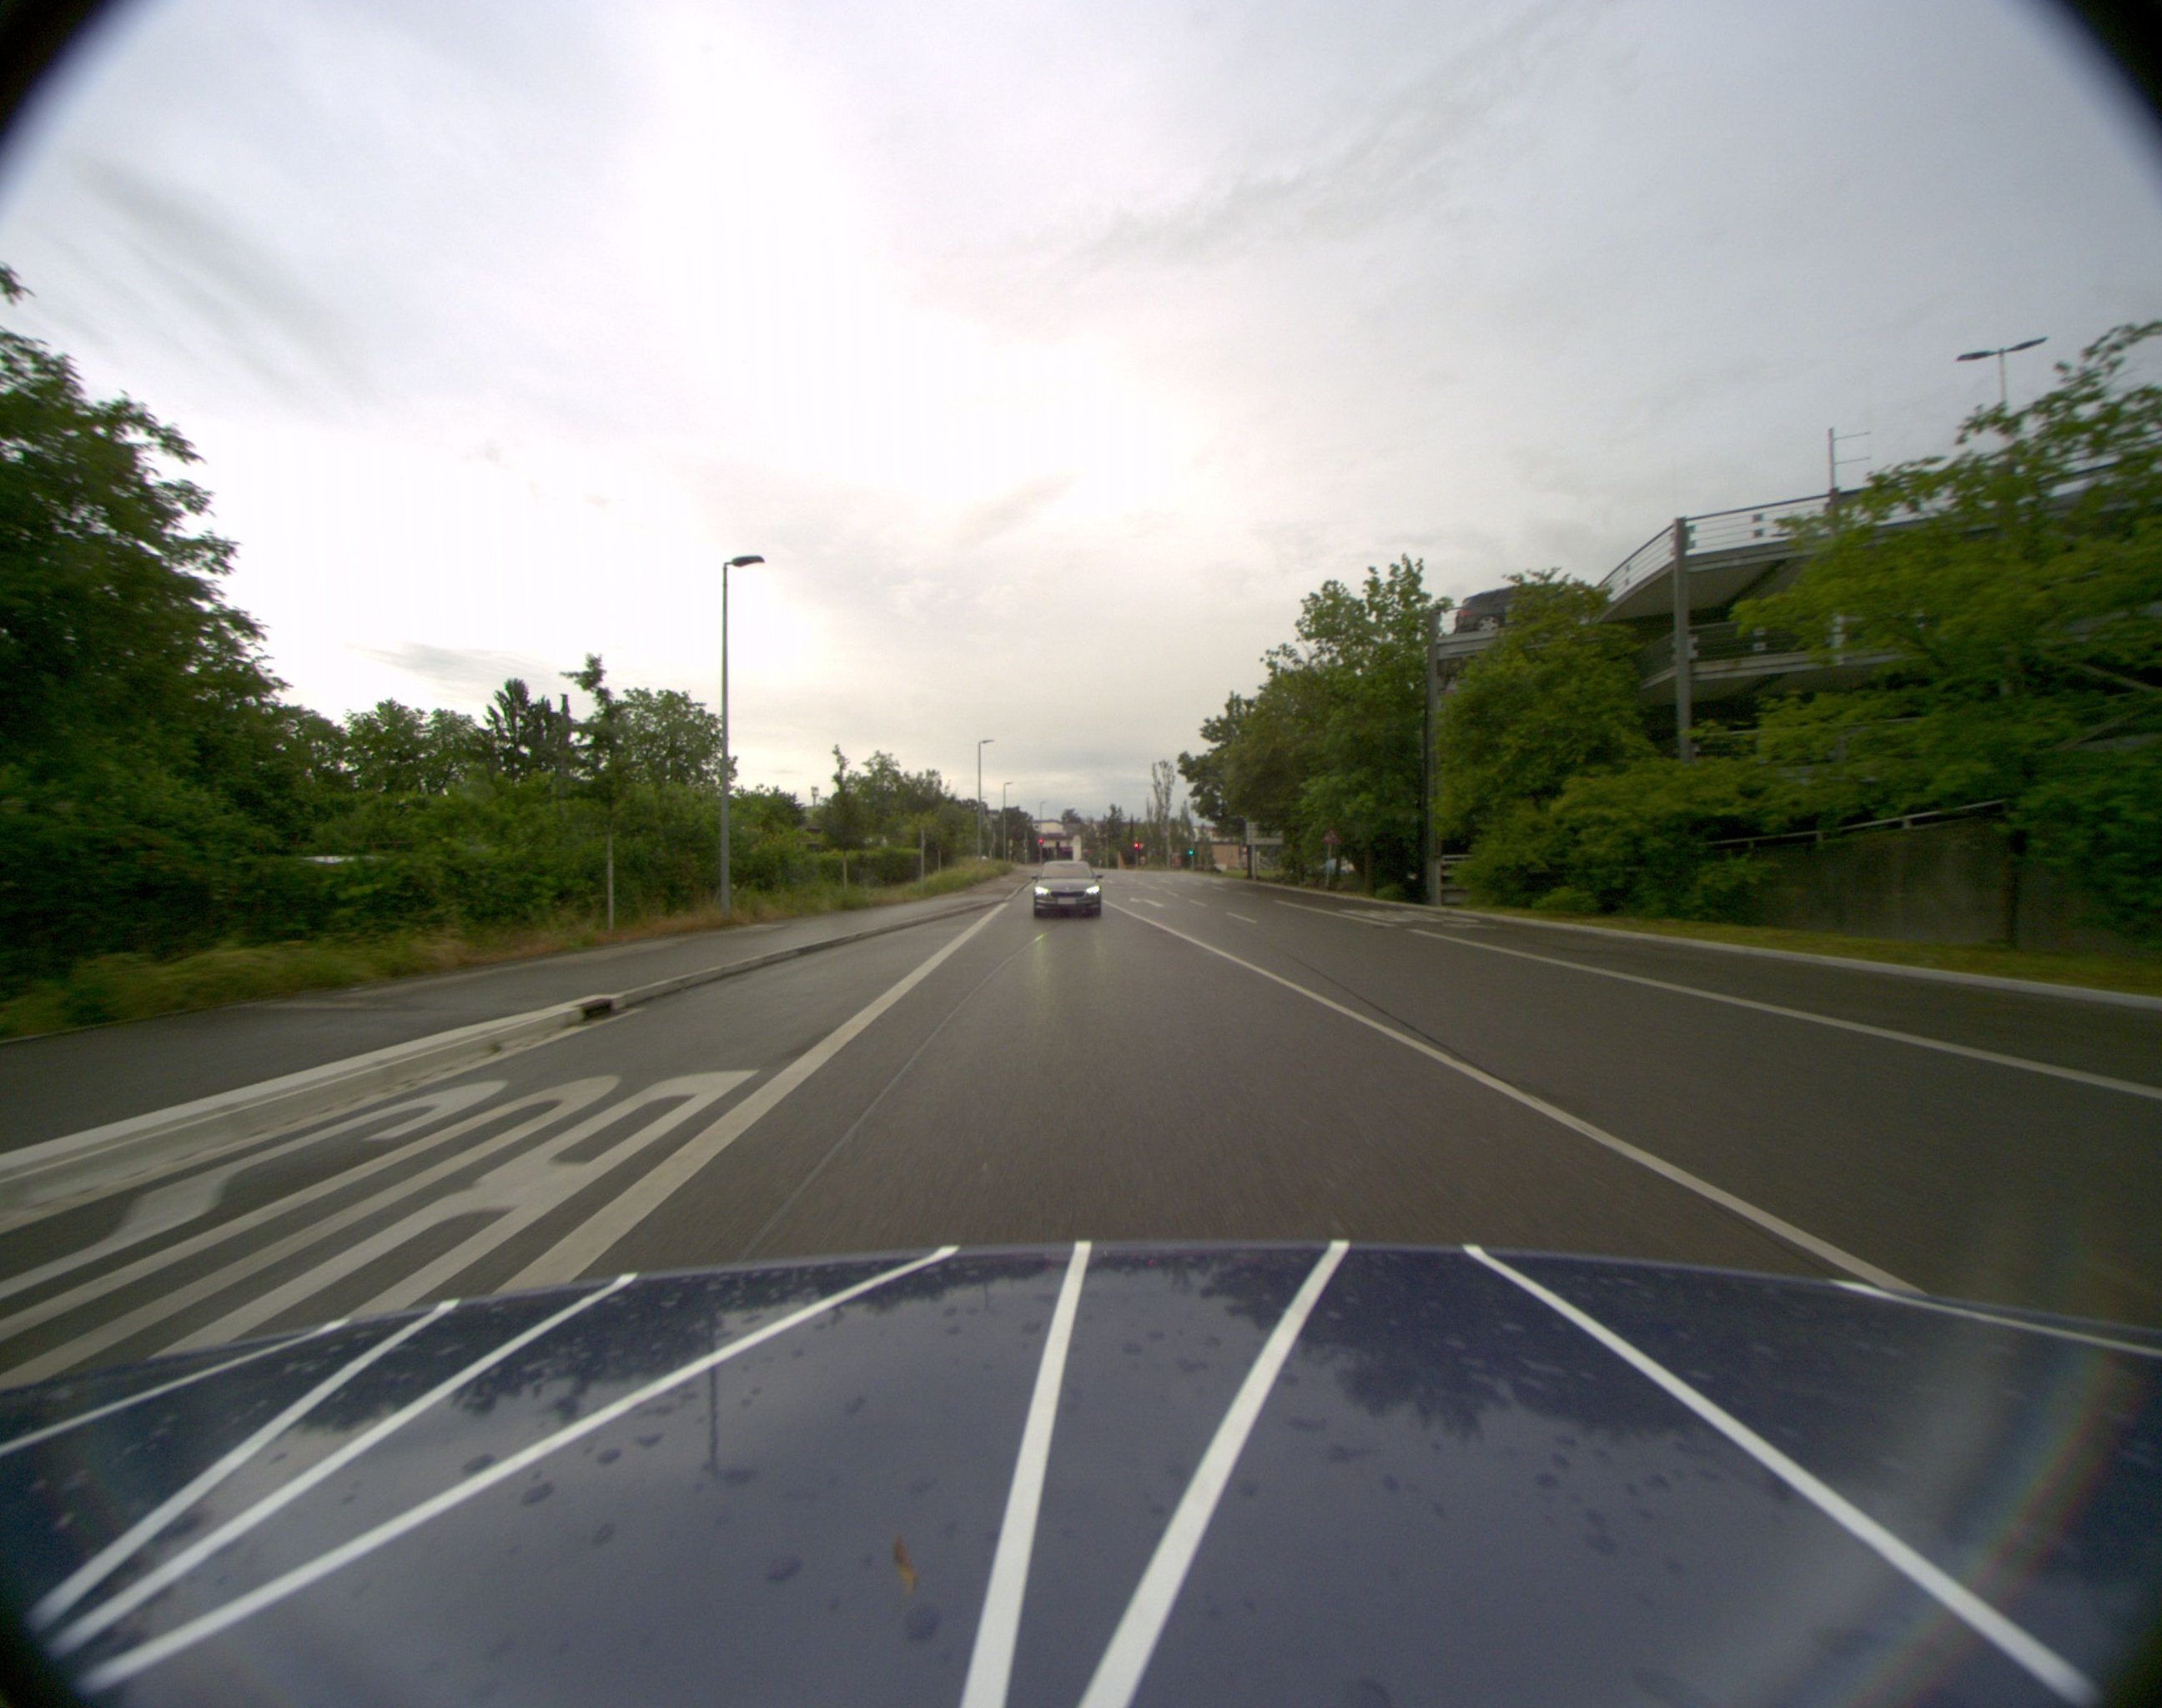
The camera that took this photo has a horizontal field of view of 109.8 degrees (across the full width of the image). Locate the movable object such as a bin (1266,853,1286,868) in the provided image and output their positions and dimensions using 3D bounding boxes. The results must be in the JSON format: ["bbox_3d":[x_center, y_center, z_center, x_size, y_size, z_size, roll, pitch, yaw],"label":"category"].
[{"bbox_3d":[34.529,1.131,134.765,2.997,2.611,1.928,2,-1,-1],"label":"movable object such as a bin"}]

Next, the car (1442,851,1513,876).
[{"bbox_3d":[25.531,0.573,48.998,3.989,1.510,2.004,1,0,27],"label":"car"}]

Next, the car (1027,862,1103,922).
[{"bbox_3d":[-0.367,0.975,21.111,1.839,1.448,4.203,-2,-1,1],"label":"car"}]

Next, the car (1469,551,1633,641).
[{"bbox_3d":[13.822,-7.586,22.658,3.989,1.510,2.004,1,0,27],"label":"car"}]

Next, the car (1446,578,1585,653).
[{"bbox_3d":[14.912,-8.173,26.301,3.989,1.510,2.004,1,0,27],"label":"car"}]

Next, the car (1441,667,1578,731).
[{"bbox_3d":[14.754,-5.314,26.391,3.989,1.510,2.004,1,0,27],"label":"car"}]

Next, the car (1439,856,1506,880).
[{"bbox_3d":[26.583,0.937,51.726,3.989,1.510,2.004,1,0,26],"label":"car"}]
